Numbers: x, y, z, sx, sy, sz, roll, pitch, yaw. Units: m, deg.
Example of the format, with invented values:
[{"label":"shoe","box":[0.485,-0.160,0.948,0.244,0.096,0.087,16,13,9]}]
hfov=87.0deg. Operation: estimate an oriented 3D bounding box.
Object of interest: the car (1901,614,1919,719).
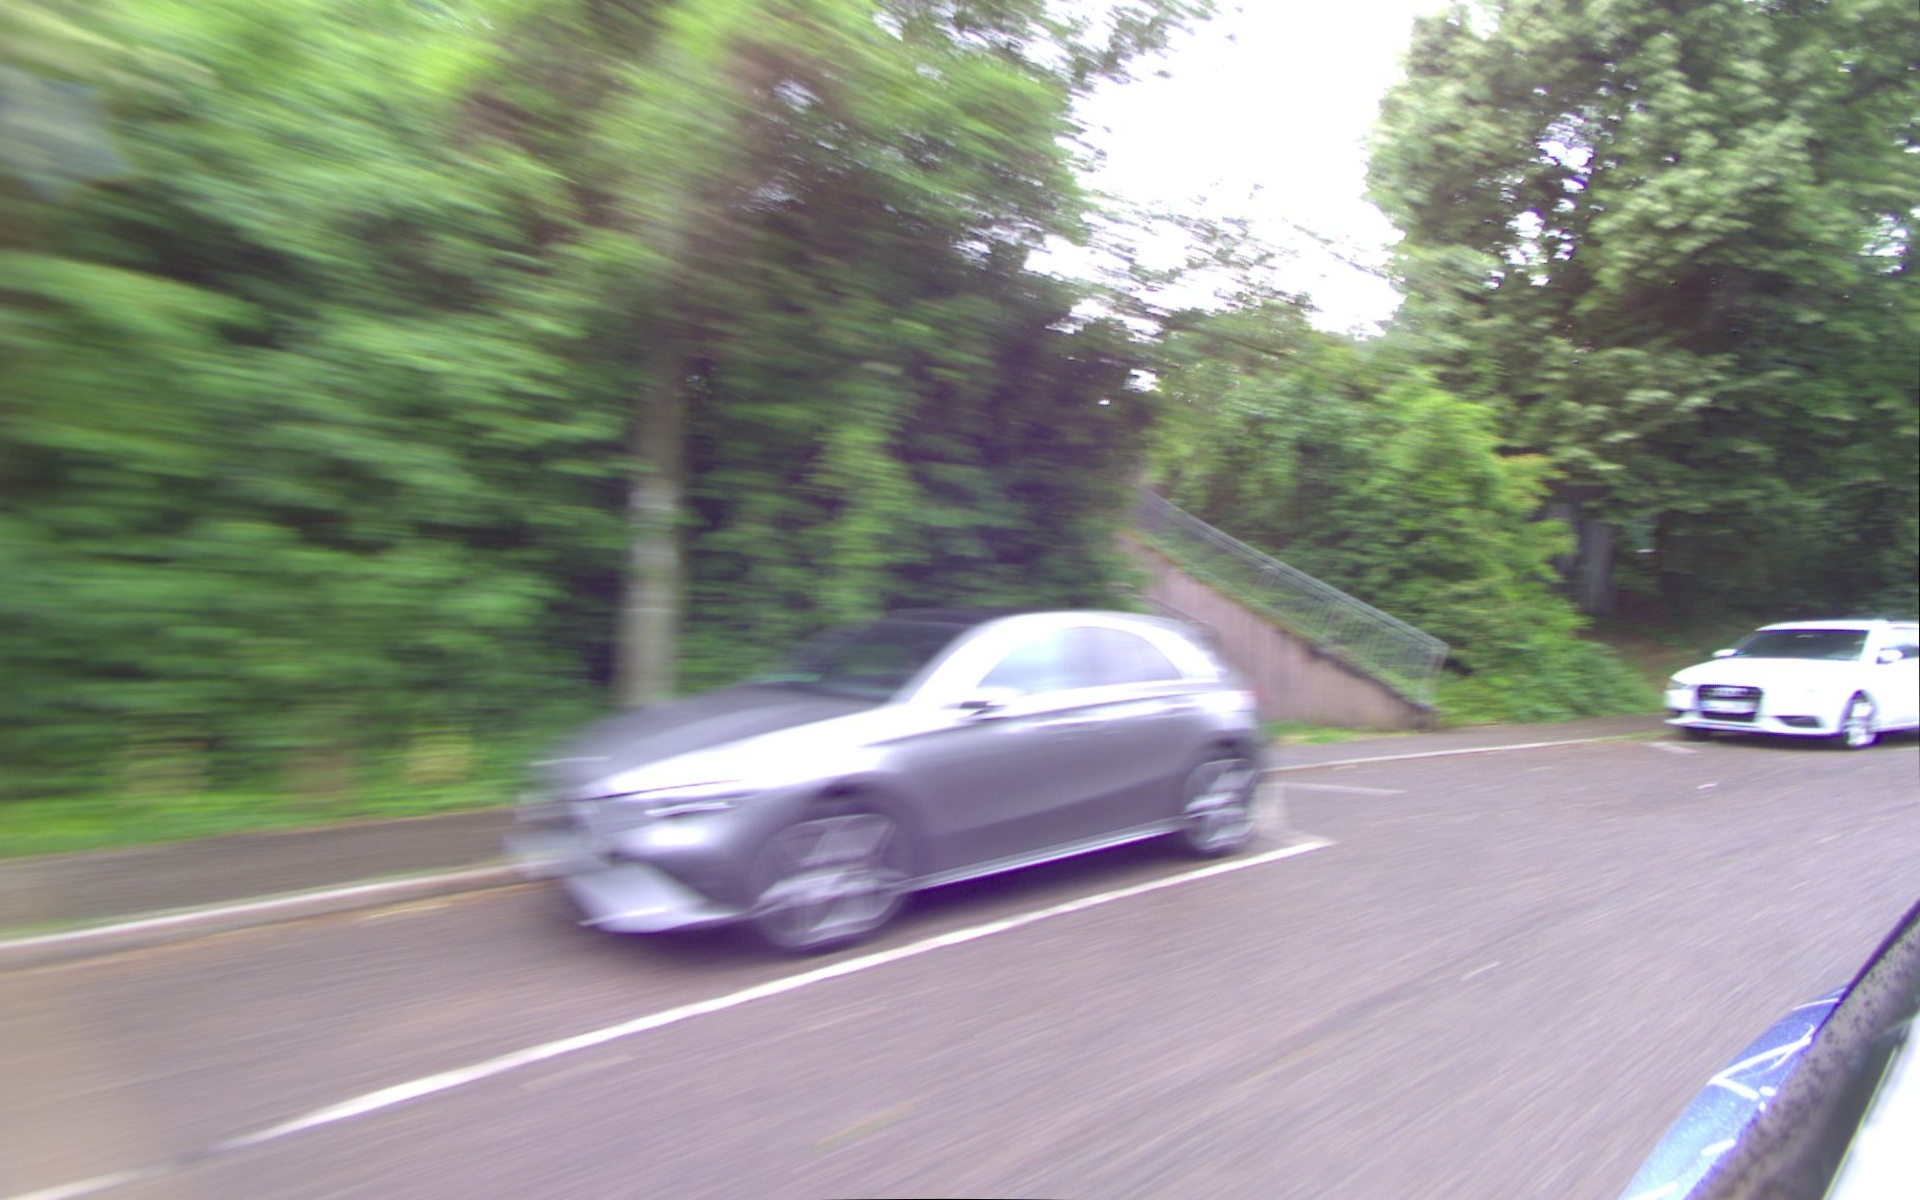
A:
[{"label":"car","box":[15.271,0.905,13.972,3.885,1.443,1.668,1,-3,-19]}]

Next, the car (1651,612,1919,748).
[{"label":"car","box":[10.529,0.878,12.186,4.010,1.419,1.763,1,-2,-24]}]

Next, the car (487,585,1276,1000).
[{"label":"car","box":[-0.188,0.701,5.535,4.050,1.462,1.724,1,-1,-39]}]
